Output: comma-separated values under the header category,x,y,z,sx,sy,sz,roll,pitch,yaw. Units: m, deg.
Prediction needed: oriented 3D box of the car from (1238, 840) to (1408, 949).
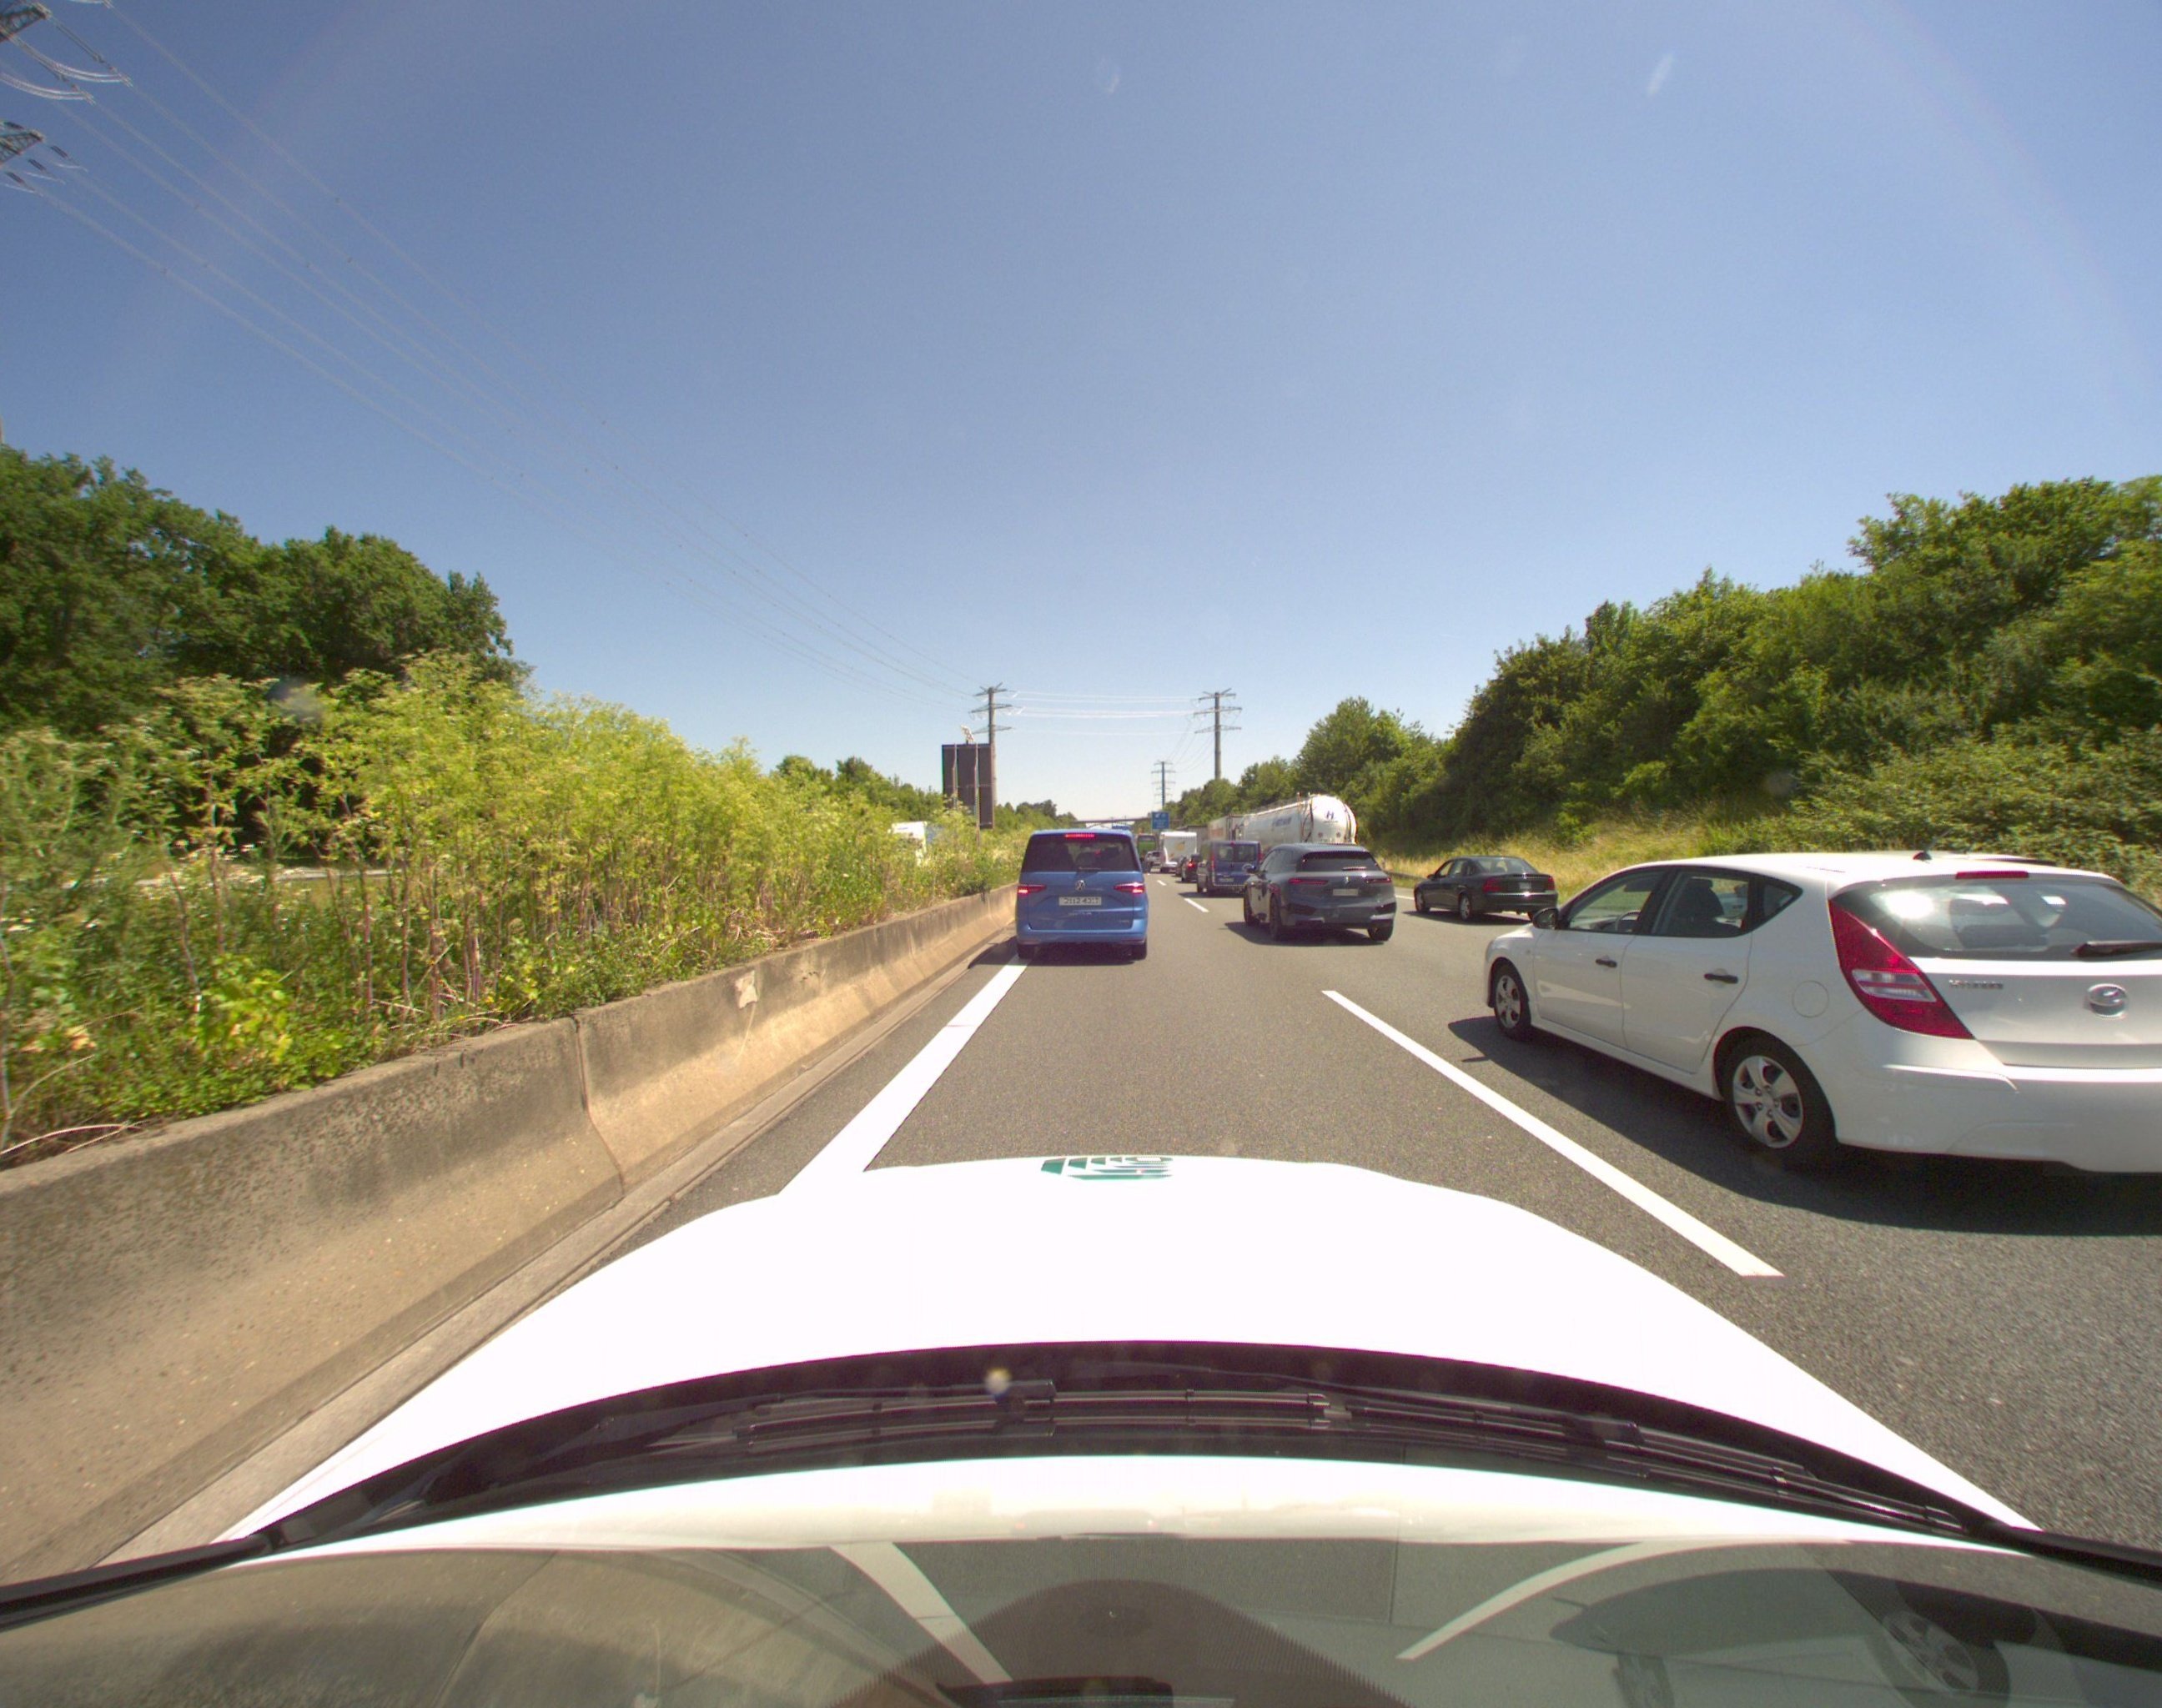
category,x,y,z,sx,sy,sz,roll,pitch,yaw
car,4.315,0.681,15.352,1.991,1.715,4.628,-1,-1,3

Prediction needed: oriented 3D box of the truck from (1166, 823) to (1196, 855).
category,x,y,z,sx,sy,sz,roll,pitch,yaw
truck,12.942,-1.854,106.632,2.883,3.766,13.354,-1,0,3

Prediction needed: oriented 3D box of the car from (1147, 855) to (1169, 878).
category,x,y,z,sx,sy,sz,roll,pitch,yaw
car,7.132,1.158,75.647,1.828,1.998,4.004,-2,-1,4

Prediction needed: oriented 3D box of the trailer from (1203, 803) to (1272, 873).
category,x,y,z,sx,sy,sz,roll,pitch,yaw
trailer,11.028,-1.003,58.812,2.901,4.469,12.158,-1,0,2

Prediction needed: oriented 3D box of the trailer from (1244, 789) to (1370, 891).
category,x,y,z,sx,sy,sz,roll,pitch,yaw
trailer,9.786,-0.511,36.875,2.751,3.845,11.490,-1,0,2

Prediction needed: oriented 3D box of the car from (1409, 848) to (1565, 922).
category,x,y,z,sx,sy,sz,roll,pitch,yaw
car,8.943,0.650,18.318,1.634,1.416,3.991,-2,-1,3

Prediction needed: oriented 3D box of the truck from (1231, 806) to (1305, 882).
category,x,y,z,sx,sy,sz,roll,pitch,yaw
truck,10.014,-0.495,44.196,2.782,3.836,5.574,-1,0,2

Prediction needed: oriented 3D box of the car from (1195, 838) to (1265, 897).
category,x,y,z,sx,sy,sz,roll,pitch,yaw
car,5.314,0.475,29.590,1.915,1.925,4.238,-2,-1,3

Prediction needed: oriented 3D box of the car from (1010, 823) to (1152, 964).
category,x,y,z,sx,sy,sz,roll,pitch,yaw
car,0.080,0.522,12.970,1.912,1.886,4.002,0,0,2

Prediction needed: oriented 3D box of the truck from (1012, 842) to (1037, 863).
category,x,y,z,sx,sy,sz,roll,pitch,yaw
truck,-9.590,-0.221,139.803,2.753,3.288,11.829,-1,0,3

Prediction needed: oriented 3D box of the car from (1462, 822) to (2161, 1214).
category,x,y,z,sx,sy,sz,roll,pitch,yaw
car,4.168,0.649,5.117,1.809,1.485,4.003,-1,-1,3

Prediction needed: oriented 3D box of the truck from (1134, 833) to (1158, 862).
category,x,y,z,sx,sy,sz,roll,pitch,yaw
truck,8.779,-0.847,110.820,2.883,3.766,10.148,-1,0,3

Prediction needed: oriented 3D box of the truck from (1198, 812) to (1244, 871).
category,x,y,z,sx,sy,sz,roll,pitch,yaw
truck,11.246,-0.973,65.979,2.901,4.469,5.144,-1,0,2

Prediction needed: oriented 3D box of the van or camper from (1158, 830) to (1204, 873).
category,x,y,z,sx,sy,sz,roll,pitch,yaw
van or camper,7.438,-0.132,61.296,2.944,3.022,7.109,-1,0,4

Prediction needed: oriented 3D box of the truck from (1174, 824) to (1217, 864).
category,x,y,z,sx,sy,sz,roll,pitch,yaw
truck,11.726,-0.868,84.915,2.993,3.766,15.724,-1,0,3

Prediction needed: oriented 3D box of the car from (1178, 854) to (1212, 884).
category,x,y,z,sx,sy,sz,roll,pitch,yaw
car,5.862,0.763,42.311,1.355,1.420,3.887,-2,-1,3

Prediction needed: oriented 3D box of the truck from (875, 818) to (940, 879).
category,x,y,z,sx,sy,sz,roll,pitch,yaw
truck,-12.787,-0.381,60.585,2.999,4.228,6.691,-1,-1,3

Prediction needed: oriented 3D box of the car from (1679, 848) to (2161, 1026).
category,x,y,z,sx,sy,sz,roll,pitch,yaw
car,8.765,0.679,8.815,1.724,1.443,4.030,-1,0,2

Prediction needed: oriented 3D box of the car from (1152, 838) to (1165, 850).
category,x,y,z,sx,sy,sz,roll,pitch,yaw
car,13.475,-1.748,141.832,1.986,2.014,4.002,-1,-1,2

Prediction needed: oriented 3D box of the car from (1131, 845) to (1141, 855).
category,x,y,z,sx,sy,sz,roll,pitch,yaw
car,12.129,-0.846,179.578,1.986,2.126,4.001,-1,-1,2
